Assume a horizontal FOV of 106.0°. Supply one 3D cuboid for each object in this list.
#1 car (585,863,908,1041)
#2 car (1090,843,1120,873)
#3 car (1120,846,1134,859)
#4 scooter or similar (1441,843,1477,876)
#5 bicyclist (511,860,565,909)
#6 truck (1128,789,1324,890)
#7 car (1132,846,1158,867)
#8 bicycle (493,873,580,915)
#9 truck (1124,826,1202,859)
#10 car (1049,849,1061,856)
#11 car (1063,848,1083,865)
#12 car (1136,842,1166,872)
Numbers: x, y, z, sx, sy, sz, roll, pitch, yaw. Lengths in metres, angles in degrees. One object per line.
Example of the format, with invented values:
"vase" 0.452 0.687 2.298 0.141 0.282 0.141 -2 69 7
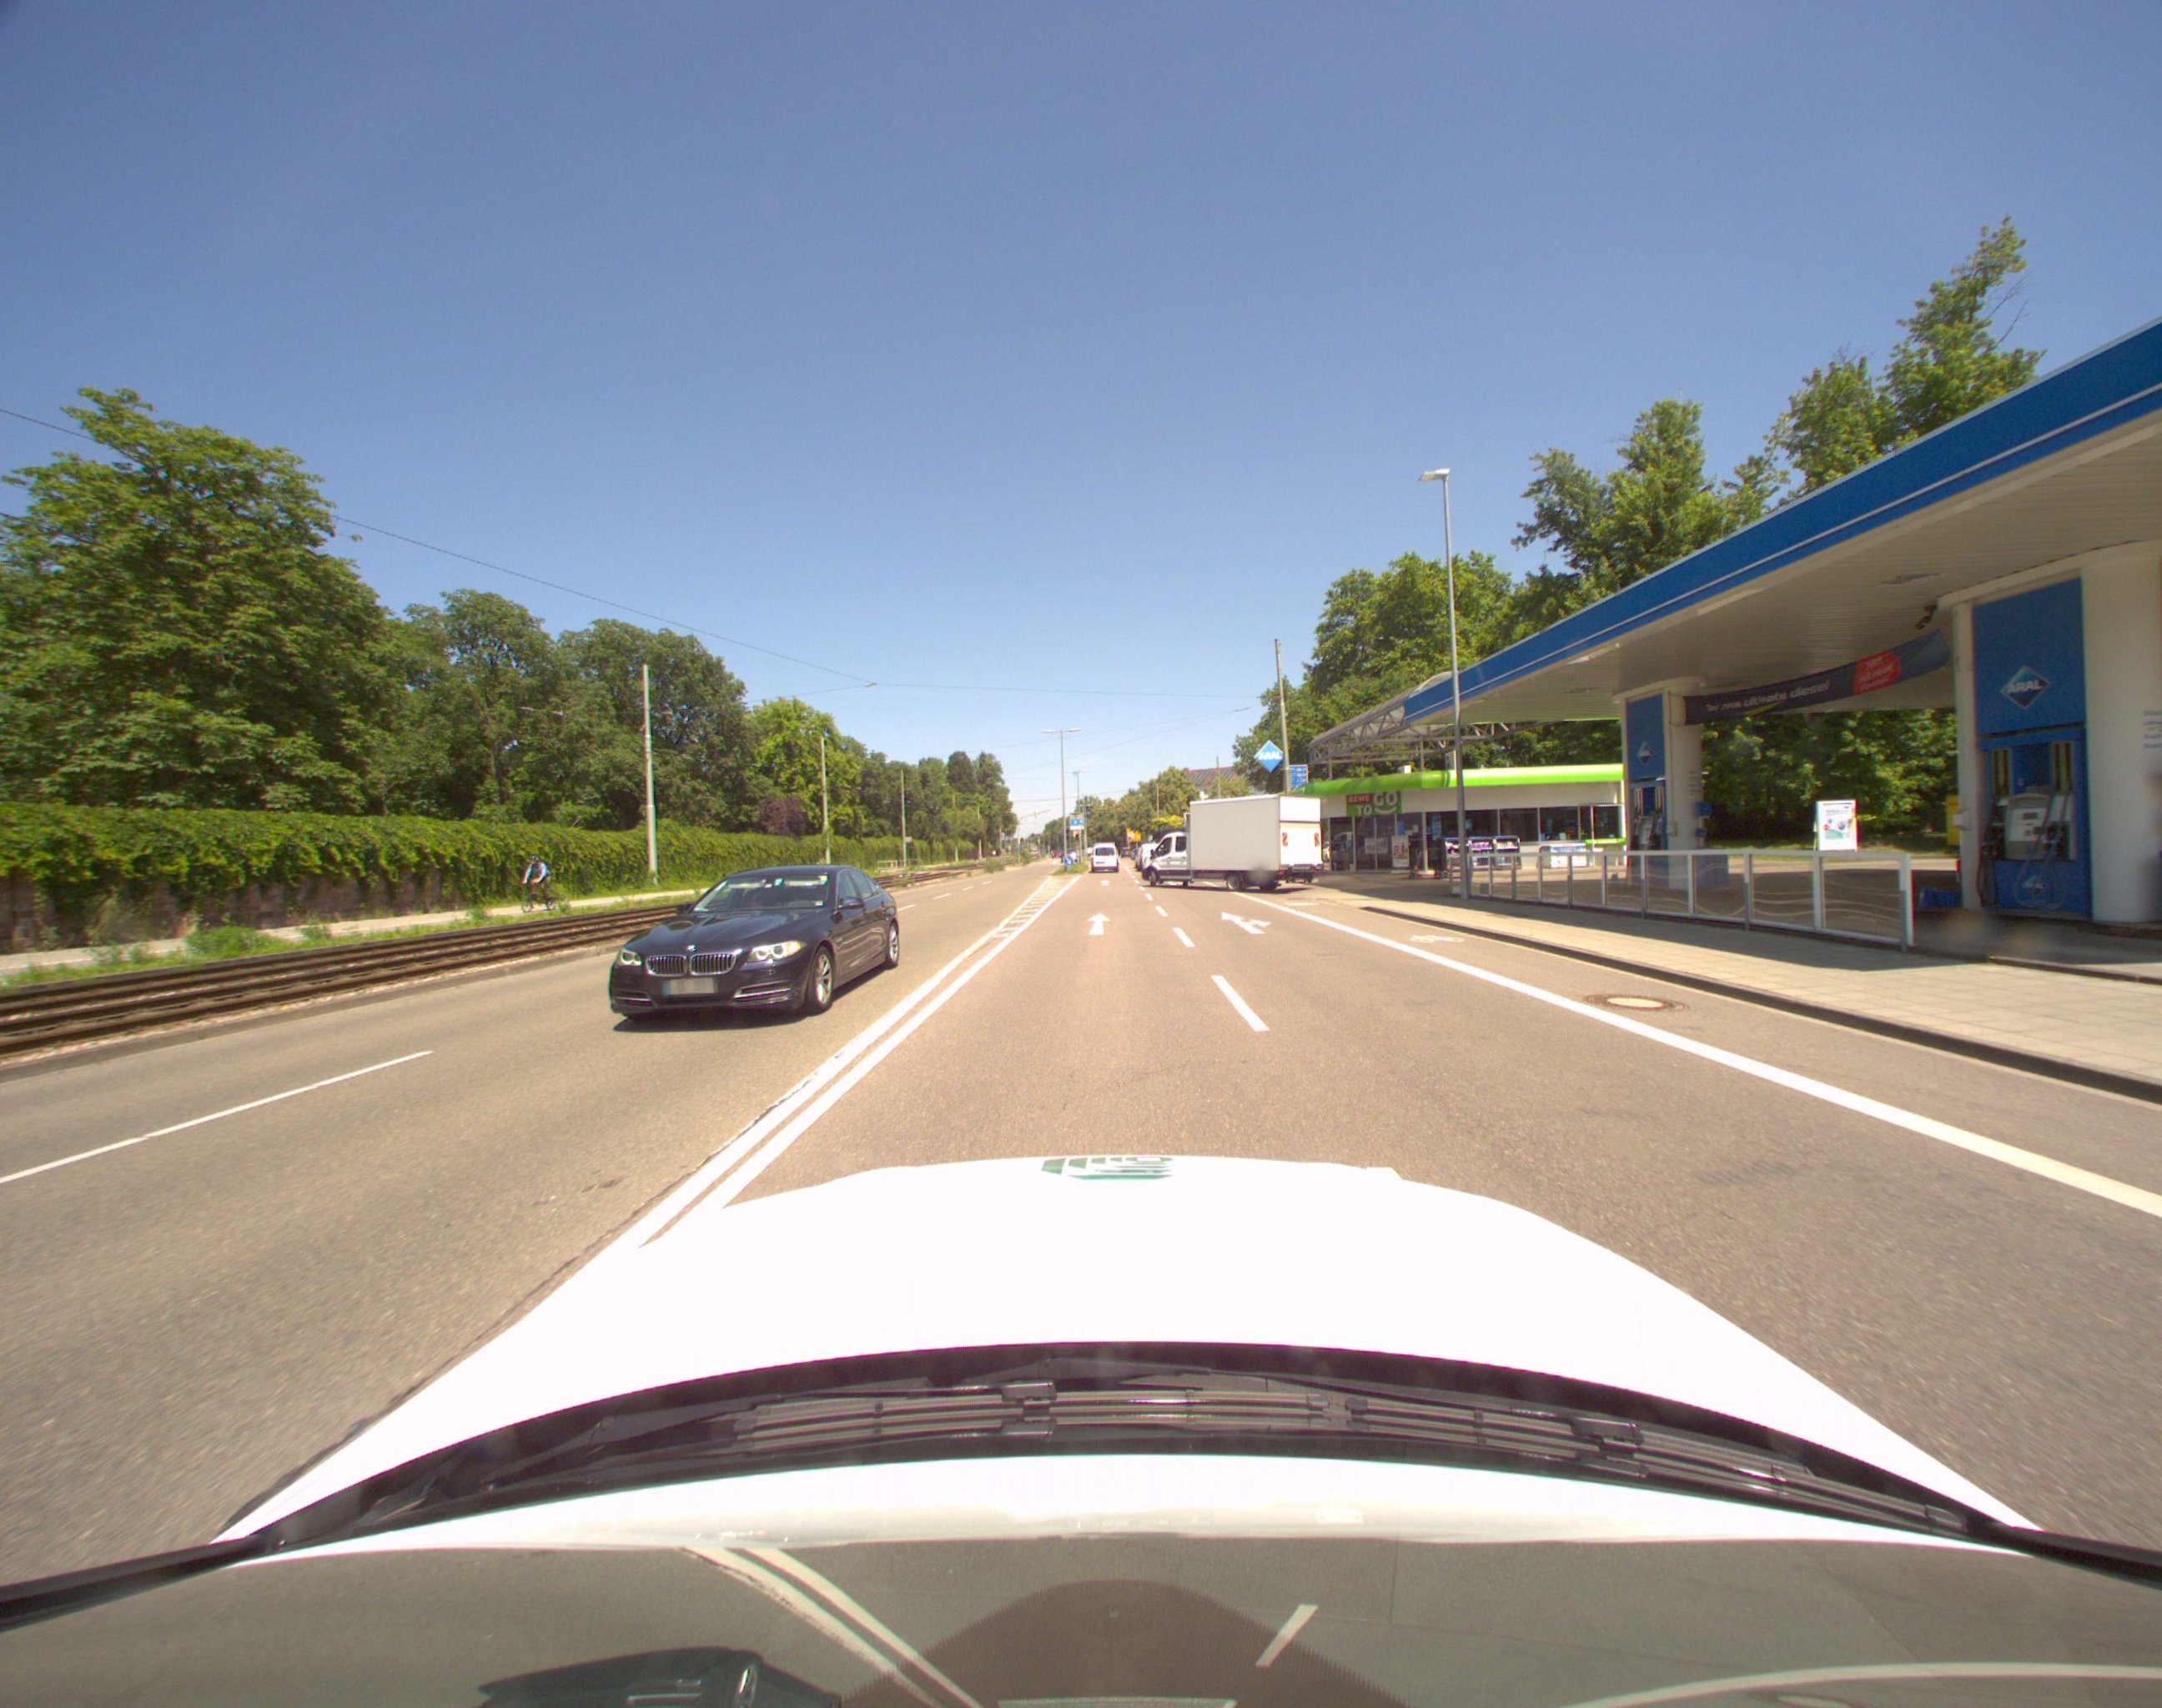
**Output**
"car" -3.351 0.865 9.250 1.787 1.399 4.447 -2 0 0
"car" 1.504 0.230 52.520 1.860 1.836 3.849 0 0 1
"car" 7.203 -0.280 127.491 1.986 1.859 4.002 -2 0 2
"scooter or similar" 13.896 0.195 29.959 1.131 1.176 0.384 -2 0 2
"bicyclist" -17.261 0.947 25.918 0.990 1.486 1.001 -2 0 3
"truck" 5.258 -0.450 31.159 2.439 3.391 7.746 -2 0 -36
"car" 4.775 0.178 61.261 1.749 1.486 4.002 -2 0 2
"bicycle" -17.271 1.234 25.932 0.825 1.156 2.688 -2 0 3
"truck" 9.929 -1.404 99.552 8.694 3.632 3.611 -2 0 34
"car" -5.033 -0.357 160.594 1.976 1.358 4.542 -2 0 3
"car" -0.976 0.282 96.147 1.991 1.829 4.531 -2 0 -6
"car" 4.547 0.185 53.475 1.703 1.830 4.016 -2 0 2
